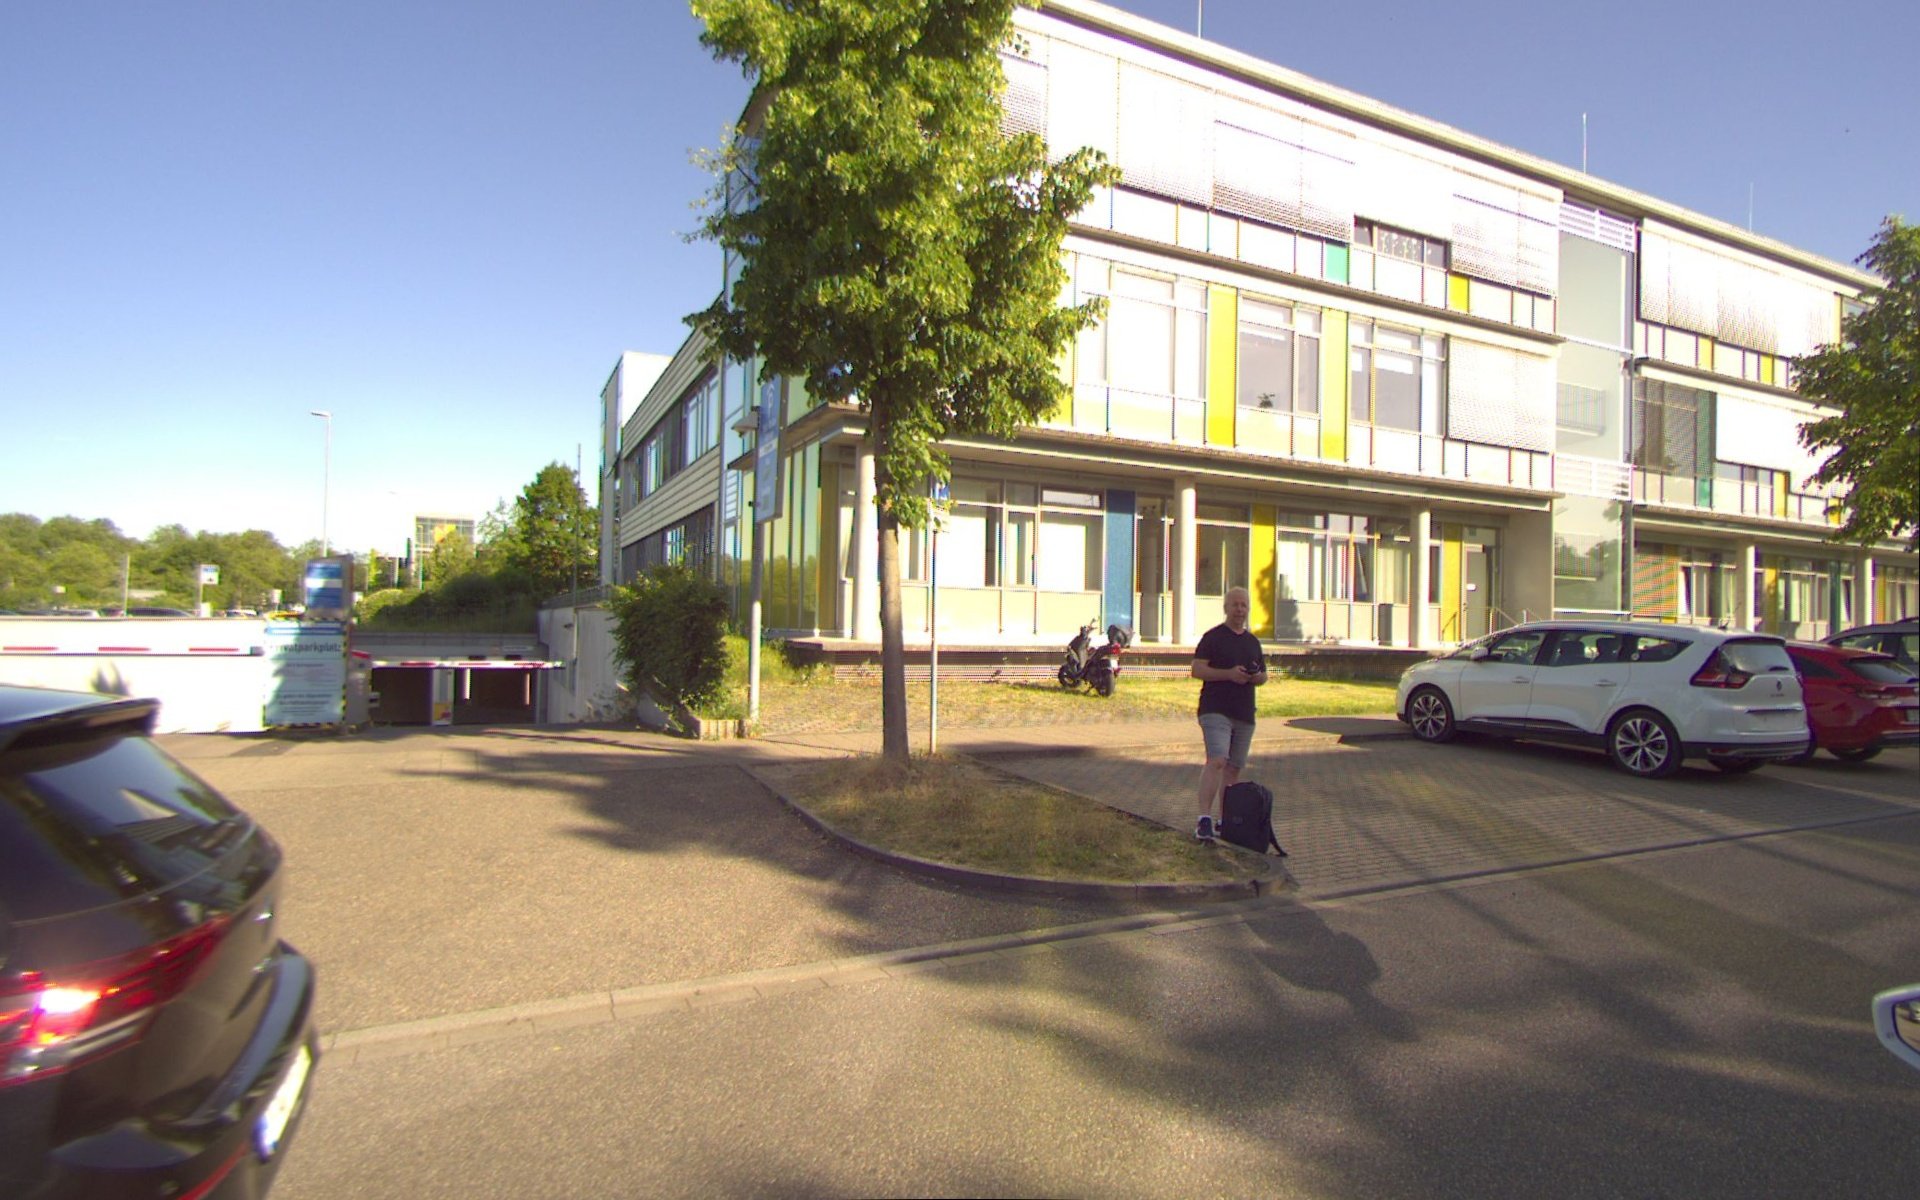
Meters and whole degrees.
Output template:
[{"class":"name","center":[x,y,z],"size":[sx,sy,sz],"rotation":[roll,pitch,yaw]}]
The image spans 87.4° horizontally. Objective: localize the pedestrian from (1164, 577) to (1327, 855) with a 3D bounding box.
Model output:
[{"class":"pedestrian","center":[2.015,0.787,7.203],"size":[0.810,1.867,0.859],"rotation":[2,1,-6]}]

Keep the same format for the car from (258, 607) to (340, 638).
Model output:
[{"class":"car","center":[-45.364,1.567,69.010],"size":[4.331,2.040,1.989],"rotation":[2,-1,-24]}]

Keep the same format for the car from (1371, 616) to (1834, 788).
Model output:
[{"class":"car","center":[7.511,1.068,12.381],"size":[1.840,1.673,4.603],"rotation":[2,-1,-22]}]

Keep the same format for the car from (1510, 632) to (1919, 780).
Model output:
[{"class":"car","center":[9.930,1.249,13.330],"size":[1.803,1.520,4.421],"rotation":[2,-1,-25]}]

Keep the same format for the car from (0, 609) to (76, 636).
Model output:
[{"class":"car","center":[-47.755,1.159,51.259],"size":[3.640,1.280,1.501],"rotation":[2,-4,-27]}]

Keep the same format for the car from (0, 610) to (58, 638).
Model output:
[{"class":"car","center":[-46.638,1.146,48.933],"size":[3.640,1.280,1.501],"rotation":[2,-4,-27]}]

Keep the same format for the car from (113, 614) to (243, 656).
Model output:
[{"class":"car","center":[-32.957,1.485,42.472],"size":[3.947,1.723,1.987],"rotation":[2,-2,-26]}]

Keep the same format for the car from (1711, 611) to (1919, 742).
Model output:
[{"class":"car","center":[14.938,1.187,15.781],"size":[1.803,1.890,4.728],"rotation":[1,0,-25]}]

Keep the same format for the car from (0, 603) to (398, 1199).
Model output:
[{"class":"car","center":[-3.158,0.722,1.376],"size":[4.033,1.470,1.698],"rotation":[2,-3,-27]}]

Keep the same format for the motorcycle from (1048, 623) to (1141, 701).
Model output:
[{"class":"motorcycle","center":[2.267,1.021,17.230],"size":[0.493,1.165,2.035],"rotation":[1,1,-27]}]
